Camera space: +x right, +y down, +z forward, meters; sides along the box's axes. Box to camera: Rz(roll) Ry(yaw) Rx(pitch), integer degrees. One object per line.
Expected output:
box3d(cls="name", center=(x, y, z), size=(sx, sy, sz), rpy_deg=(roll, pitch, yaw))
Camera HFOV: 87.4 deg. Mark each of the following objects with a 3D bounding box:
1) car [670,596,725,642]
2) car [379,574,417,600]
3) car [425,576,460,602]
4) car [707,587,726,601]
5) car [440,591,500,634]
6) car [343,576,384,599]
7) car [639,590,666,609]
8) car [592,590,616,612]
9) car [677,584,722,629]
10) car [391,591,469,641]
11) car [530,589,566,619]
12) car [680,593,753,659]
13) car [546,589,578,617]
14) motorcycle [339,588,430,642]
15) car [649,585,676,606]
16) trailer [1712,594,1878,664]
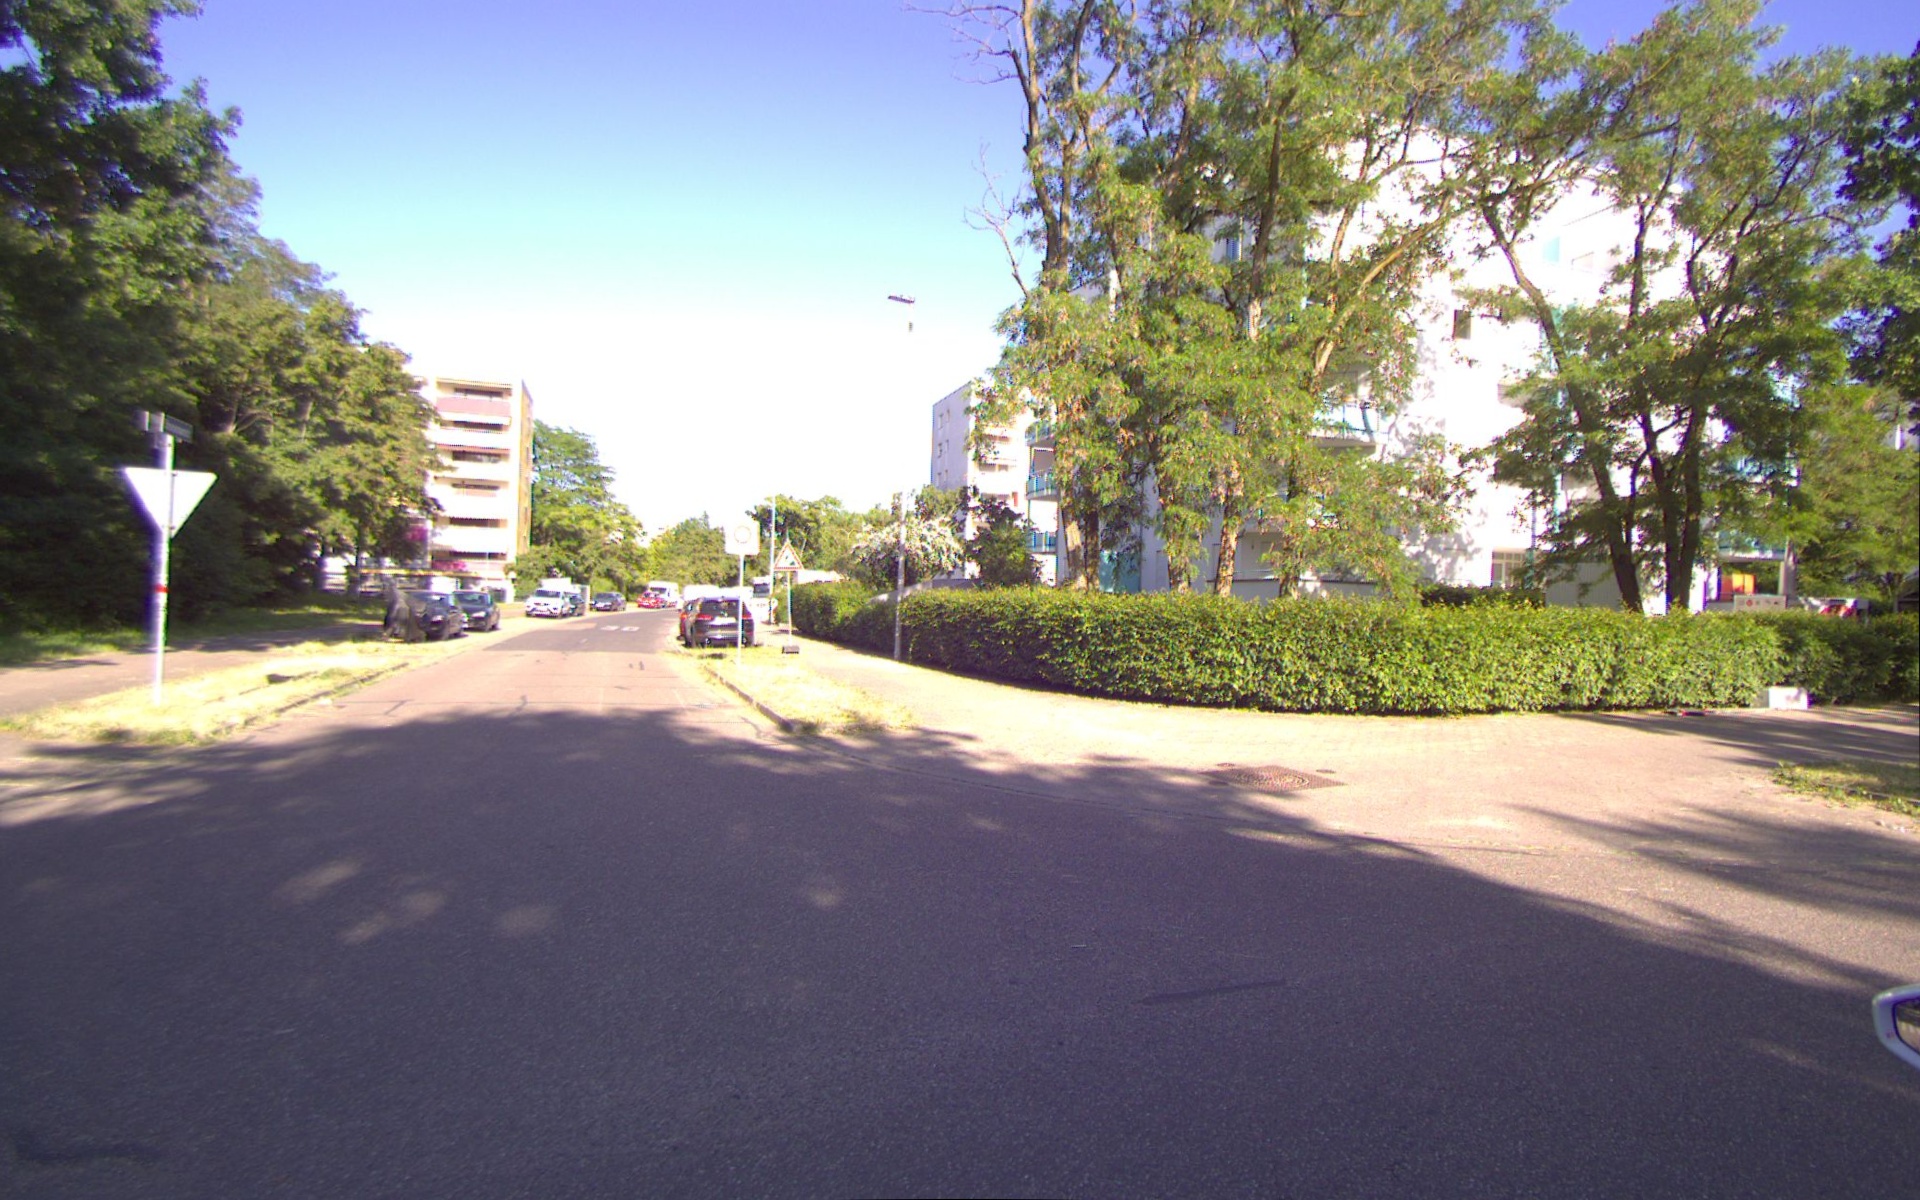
box3d(cls="car", center=(-9.666, 0.665, 36.827), size=(1.613, 1.531, 3.819), rpy_deg=(2, 0, -19))
box3d(cls="car", center=(-40.634, -0.943, 72.675), size=(1.736, 1.767, 3.819), rpy_deg=(2, 0, -20))
box3d(cls="car", center=(-37.727, -0.796, 73.349), size=(1.736, 1.767, 3.819), rpy_deg=(2, 0, -20))
box3d(cls="car", center=(-30.970, -0.735, 127.618), size=(1.858, 1.662, 3.995), rpy_deg=(2, 0, -7))
box3d(cls="car", center=(-17.774, 0.426, 36.543), size=(1.536, 1.410, 3.573), rpy_deg=(2, 0, -20))
box3d(cls="car", center=(-42.444, -0.911, 71.578), size=(1.773, 1.547, 3.819), rpy_deg=(2, 0, -20))
box3d(cls="car", center=(-28.453, -0.068, 92.992), size=(1.794, 1.617, 3.993), rpy_deg=(2, 0, -9))
box3d(cls="car", center=(-26.523, 0.047, 74.826), size=(1.620, 1.578, 3.819), rpy_deg=(2, 0, -19))
box3d(cls="car", center=(-13.061, 0.288, 50.182), size=(1.800, 2.088, 3.819), rpy_deg=(2, 0, -20))
box3d(cls="car", center=(-16.093, 0.453, 30.642), size=(1.536, 1.410, 3.573), rpy_deg=(2, 0, -20))
box3d(cls="car", center=(-22.655, 0.191, 55.338), size=(1.620, 1.578, 3.819), rpy_deg=(2, 0, -19))
box3d(cls="car", center=(-7.408, 0.729, 30.286), size=(1.730, 1.808, 3.819), rpy_deg=(2, 0, -20))
box3d(cls="car", center=(-24.072, 0.175, 60.780), size=(1.620, 1.578, 3.819), rpy_deg=(2, 0, -19))
box3d(cls="motorcycle", center=(-15.053, 0.390, 26.320), size=(0.665, 1.362, 1.953), rpy_deg=(2, 0, 39))
box3d(cls="car", center=(-29.062, -0.438, 98.117), size=(1.948, 1.925, 3.993), rpy_deg=(2, 0, -9))
box3d(cls="trailer", center=(26.400, 0.920, 31.780), size=(4.359, 2.070, 1.975), rpy_deg=(2, 0, -17))
